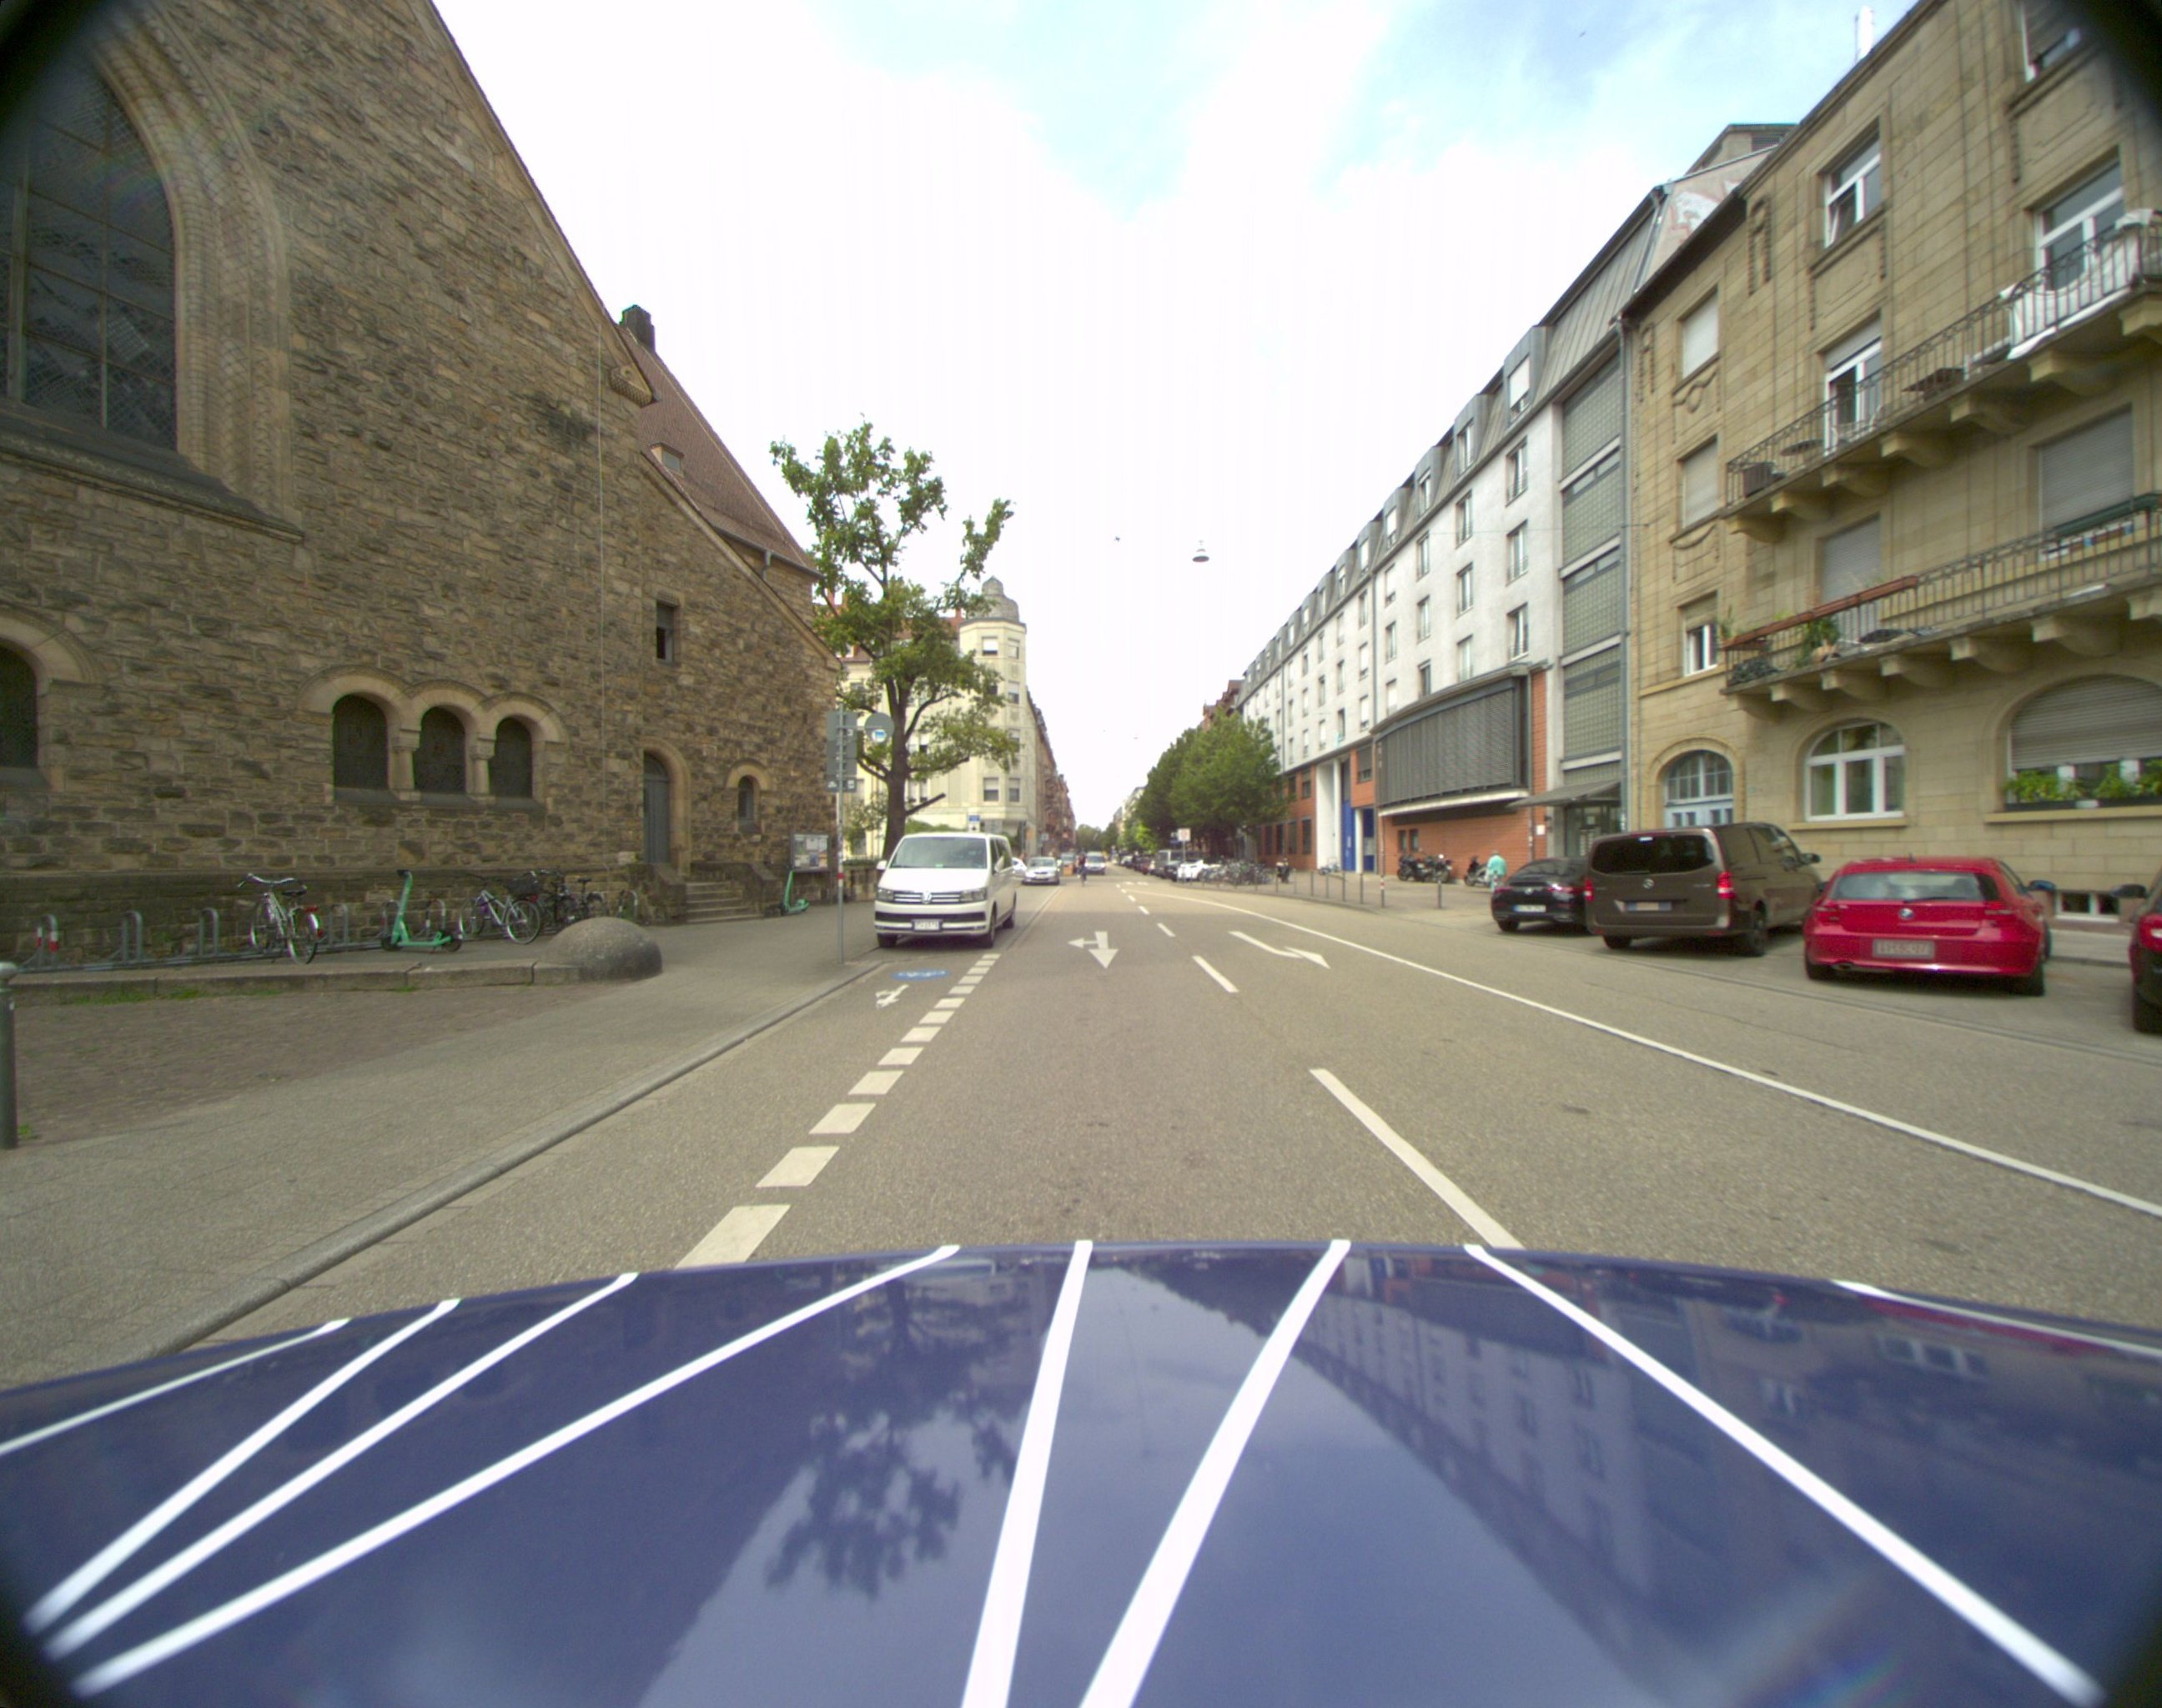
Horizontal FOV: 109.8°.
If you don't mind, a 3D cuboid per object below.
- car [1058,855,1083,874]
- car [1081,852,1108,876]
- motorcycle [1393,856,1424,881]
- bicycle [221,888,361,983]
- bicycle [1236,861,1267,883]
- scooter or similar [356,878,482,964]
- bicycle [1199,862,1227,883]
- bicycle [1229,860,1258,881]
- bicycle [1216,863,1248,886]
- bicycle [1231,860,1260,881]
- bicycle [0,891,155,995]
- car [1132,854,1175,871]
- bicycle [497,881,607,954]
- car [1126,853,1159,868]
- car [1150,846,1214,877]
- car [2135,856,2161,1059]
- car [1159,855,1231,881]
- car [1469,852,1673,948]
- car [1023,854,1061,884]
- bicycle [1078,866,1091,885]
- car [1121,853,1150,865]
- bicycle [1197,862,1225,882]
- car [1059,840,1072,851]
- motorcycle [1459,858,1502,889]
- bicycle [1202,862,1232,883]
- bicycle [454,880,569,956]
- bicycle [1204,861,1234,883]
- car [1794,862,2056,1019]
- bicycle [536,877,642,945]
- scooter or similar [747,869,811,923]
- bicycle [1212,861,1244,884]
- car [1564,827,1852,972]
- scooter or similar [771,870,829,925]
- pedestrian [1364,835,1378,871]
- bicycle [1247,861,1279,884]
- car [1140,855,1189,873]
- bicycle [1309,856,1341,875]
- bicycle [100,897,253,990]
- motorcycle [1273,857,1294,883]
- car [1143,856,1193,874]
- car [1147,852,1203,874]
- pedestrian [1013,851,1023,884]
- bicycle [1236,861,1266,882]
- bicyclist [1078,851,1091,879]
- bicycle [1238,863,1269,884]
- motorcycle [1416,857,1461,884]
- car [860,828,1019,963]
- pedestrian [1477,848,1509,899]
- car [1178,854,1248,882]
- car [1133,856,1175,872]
[{"bbox_3d":[-0.906,0.923,68.010,1.853,1.661,4.008,-1,-1,5],"label":"car"},{"bbox_3d":[1.186,0.835,63.694,1.942,1.913,4.008,-1,-1,5],"label":"car"},{"bbox_3d":[14.298,0.619,33.201,0.585,1.042,1.657,-2,0,0],"label":"motorcycle"},{"bbox_3d":[-10.054,0.999,9.664,1.778,1.105,0.547,0,0,20],"label":"bicycle"},{"bbox_3d":[8.502,0.900,37.897,1.409,1.020,0.402,-1,0,3],"label":"bicycle"},{"bbox_3d":[-9.401,0.925,10.786,1.778,1.133,0.547,0,0,20],"label":"scooter or similar"},{"bbox_3d":[7.068,0.978,40.673,1.409,1.020,0.402,-3,0,3],"label":"bicycle"},{"bbox_3d":[8.502,0.861,39.685,1.409,1.020,0.402,-1,0,3],"label":"bicycle"},{"bbox_3d":[7.134,0.961,35.863,1.409,1.032,0.402,-3,0,3],"label":"bicycle"},{"bbox_3d":[8.496,0.847,39.200,1.409,1.020,0.402,-1,0,3],"label":"bicycle"},{"bbox_3d":[-10.805,0.917,8.146,1.778,0.952,0.547,2,1,20],"label":"bicycle"},{"bbox_3d":[7.080,0.827,73.972,4.012,1.558,1.687,-1,-1,-32],"label":"car"},{"bbox_3d":[-8.680,1.012,12.458,1.771,1.105,0.547,0,0,20],"label":"bicycle"},{"bbox_3d":[7.809,0.854,96.228,4.012,1.846,1.687,-1,-1,-32],"label":"car"},{"bbox_3d":[7.010,0.484,52.647,4.011,1.986,1.857,-3,1,-30],"label":"car"},{"bbox_3d":[10.229,0.779,6.296,4.004,1.494,1.627,-1,0,-34],"label":"car"},{"bbox_3d":[7.082,0.833,46.933,4.324,1.460,1.713,-1,0,-33],"label":"car"},{"bbox_3d":[9.789,0.815,15.035,4.679,1.401,1.895,-4,0,-38],"label":"car"},{"bbox_3d":[-1.977,0.766,39.688,1.759,1.460,4.418,0,0,0],"label":"car"},{"bbox_3d":[0.172,1.077,38.877,0.586,0.927,1.783,-1,-1,2],"label":"bicycle"},{"bbox_3d":[8.213,0.734,114.442,4.012,1.746,1.687,-1,-1,-32],"label":"car"},{"bbox_3d":[7.084,0.996,41.481,1.409,1.020,0.402,-3,0,3],"label":"bicycle"},{"bbox_3d":[-2.309,-1.238,111.910,1.854,1.505,4.006,-1,-1,0],"label":"car"},{"bbox_3d":[14.212,0.670,27.080,0.585,1.042,1.794,-2,0,2],"label":"motorcycle"},{"bbox_3d":[7.038,0.970,39.400,1.409,1.020,0.402,-3,0,3],"label":"bicycle"},{"bbox_3d":[-8.912,0.976,11.884,1.778,1.105,0.547,0,0,20],"label":"bicycle"},{"bbox_3d":[7.032,0.939,38.758,1.409,1.032,0.402,-3,0,3],"label":"bicycle"},{"bbox_3d":[10.098,0.825,9.009,4.020,1.401,1.792,-1,0,-38],"label":"car"},{"bbox_3d":[-8.471,0.955,13.074,1.778,1.105,0.547,0,0,20],"label":"bicycle"},{"bbox_3d":[-7.163,0.982,18.087,0.545,1.200,1.483,0,0,21],"label":"scooter or similar"},{"bbox_3d":[7.122,0.905,36.754,1.409,1.032,0.402,-3,0,3],"label":"bicycle"},{"bbox_3d":[10.229,0.575,12.263,5.280,1.899,2.116,-1,0,-33],"label":"car"},{"bbox_3d":[-6.553,0.997,17.782,0.545,1.200,1.444,0,0,14],"label":"scooter or similar"},{"bbox_3d":[16.305,-0.075,42.736,0.729,2.002,0.783,0,0,20],"label":"pedestrian"},{"bbox_3d":[8.661,0.875,36.115,1.409,1.020,0.402,-1,0,3],"label":"bicycle"},{"bbox_3d":[7.269,0.843,66.094,4.012,1.445,1.687,-1,-1,-32],"label":"car"},{"bbox_3d":[14.175,0.668,44.149,1.613,0.920,0.932,-6,-1,13],"label":"bicycle"},{"bbox_3d":[-10.504,1.007,8.817,1.778,0.951,0.547,0,0,20],"label":"bicycle"},{"bbox_3d":[9.756,0.757,36.647,0.585,1.166,1.780,-2,0,3],"label":"motorcycle"},{"bbox_3d":[7.353,0.913,63.880,4.012,1.381,1.592,-1,-1,-32],"label":"car"},{"bbox_3d":[7.223,0.697,58.271,4.012,1.605,1.708,-1,-1,-32],"label":"car"},{"bbox_3d":[-3.262,0.701,39.409,0.468,1.725,0.410,0,0,0],"label":"pedestrian"},{"bbox_3d":[8.573,0.878,38.381,1.409,1.020,0.402,-1,0,3],"label":"bicycle"},{"bbox_3d":[0.186,0.572,39.025,0.649,1.408,1.094,-1,0,2],"label":"bicyclist"},{"bbox_3d":[8.473,0.952,37.361,1.409,1.020,0.402,-1,0,3],"label":"bicycle"},{"bbox_3d":[14.453,0.669,30.781,0.585,1.042,1.965,-2,0,-10],"label":"motorcycle"},{"bbox_3d":[-2.352,0.619,14.077,2.019,2.017,5.122,1,0,0],"label":"car"},{"bbox_3d":[12.109,0.574,22.328,0.661,1.477,0.509,-1,0,4],"label":"pedestrian"},{"bbox_3d":[7.713,0.802,44.352,4.013,1.536,1.598,-1,0,-33],"label":"car"},{"bbox_3d":[7.435,1.034,76.885,4.012,1.558,1.687,-1,-1,-32],"label":"car"}]
